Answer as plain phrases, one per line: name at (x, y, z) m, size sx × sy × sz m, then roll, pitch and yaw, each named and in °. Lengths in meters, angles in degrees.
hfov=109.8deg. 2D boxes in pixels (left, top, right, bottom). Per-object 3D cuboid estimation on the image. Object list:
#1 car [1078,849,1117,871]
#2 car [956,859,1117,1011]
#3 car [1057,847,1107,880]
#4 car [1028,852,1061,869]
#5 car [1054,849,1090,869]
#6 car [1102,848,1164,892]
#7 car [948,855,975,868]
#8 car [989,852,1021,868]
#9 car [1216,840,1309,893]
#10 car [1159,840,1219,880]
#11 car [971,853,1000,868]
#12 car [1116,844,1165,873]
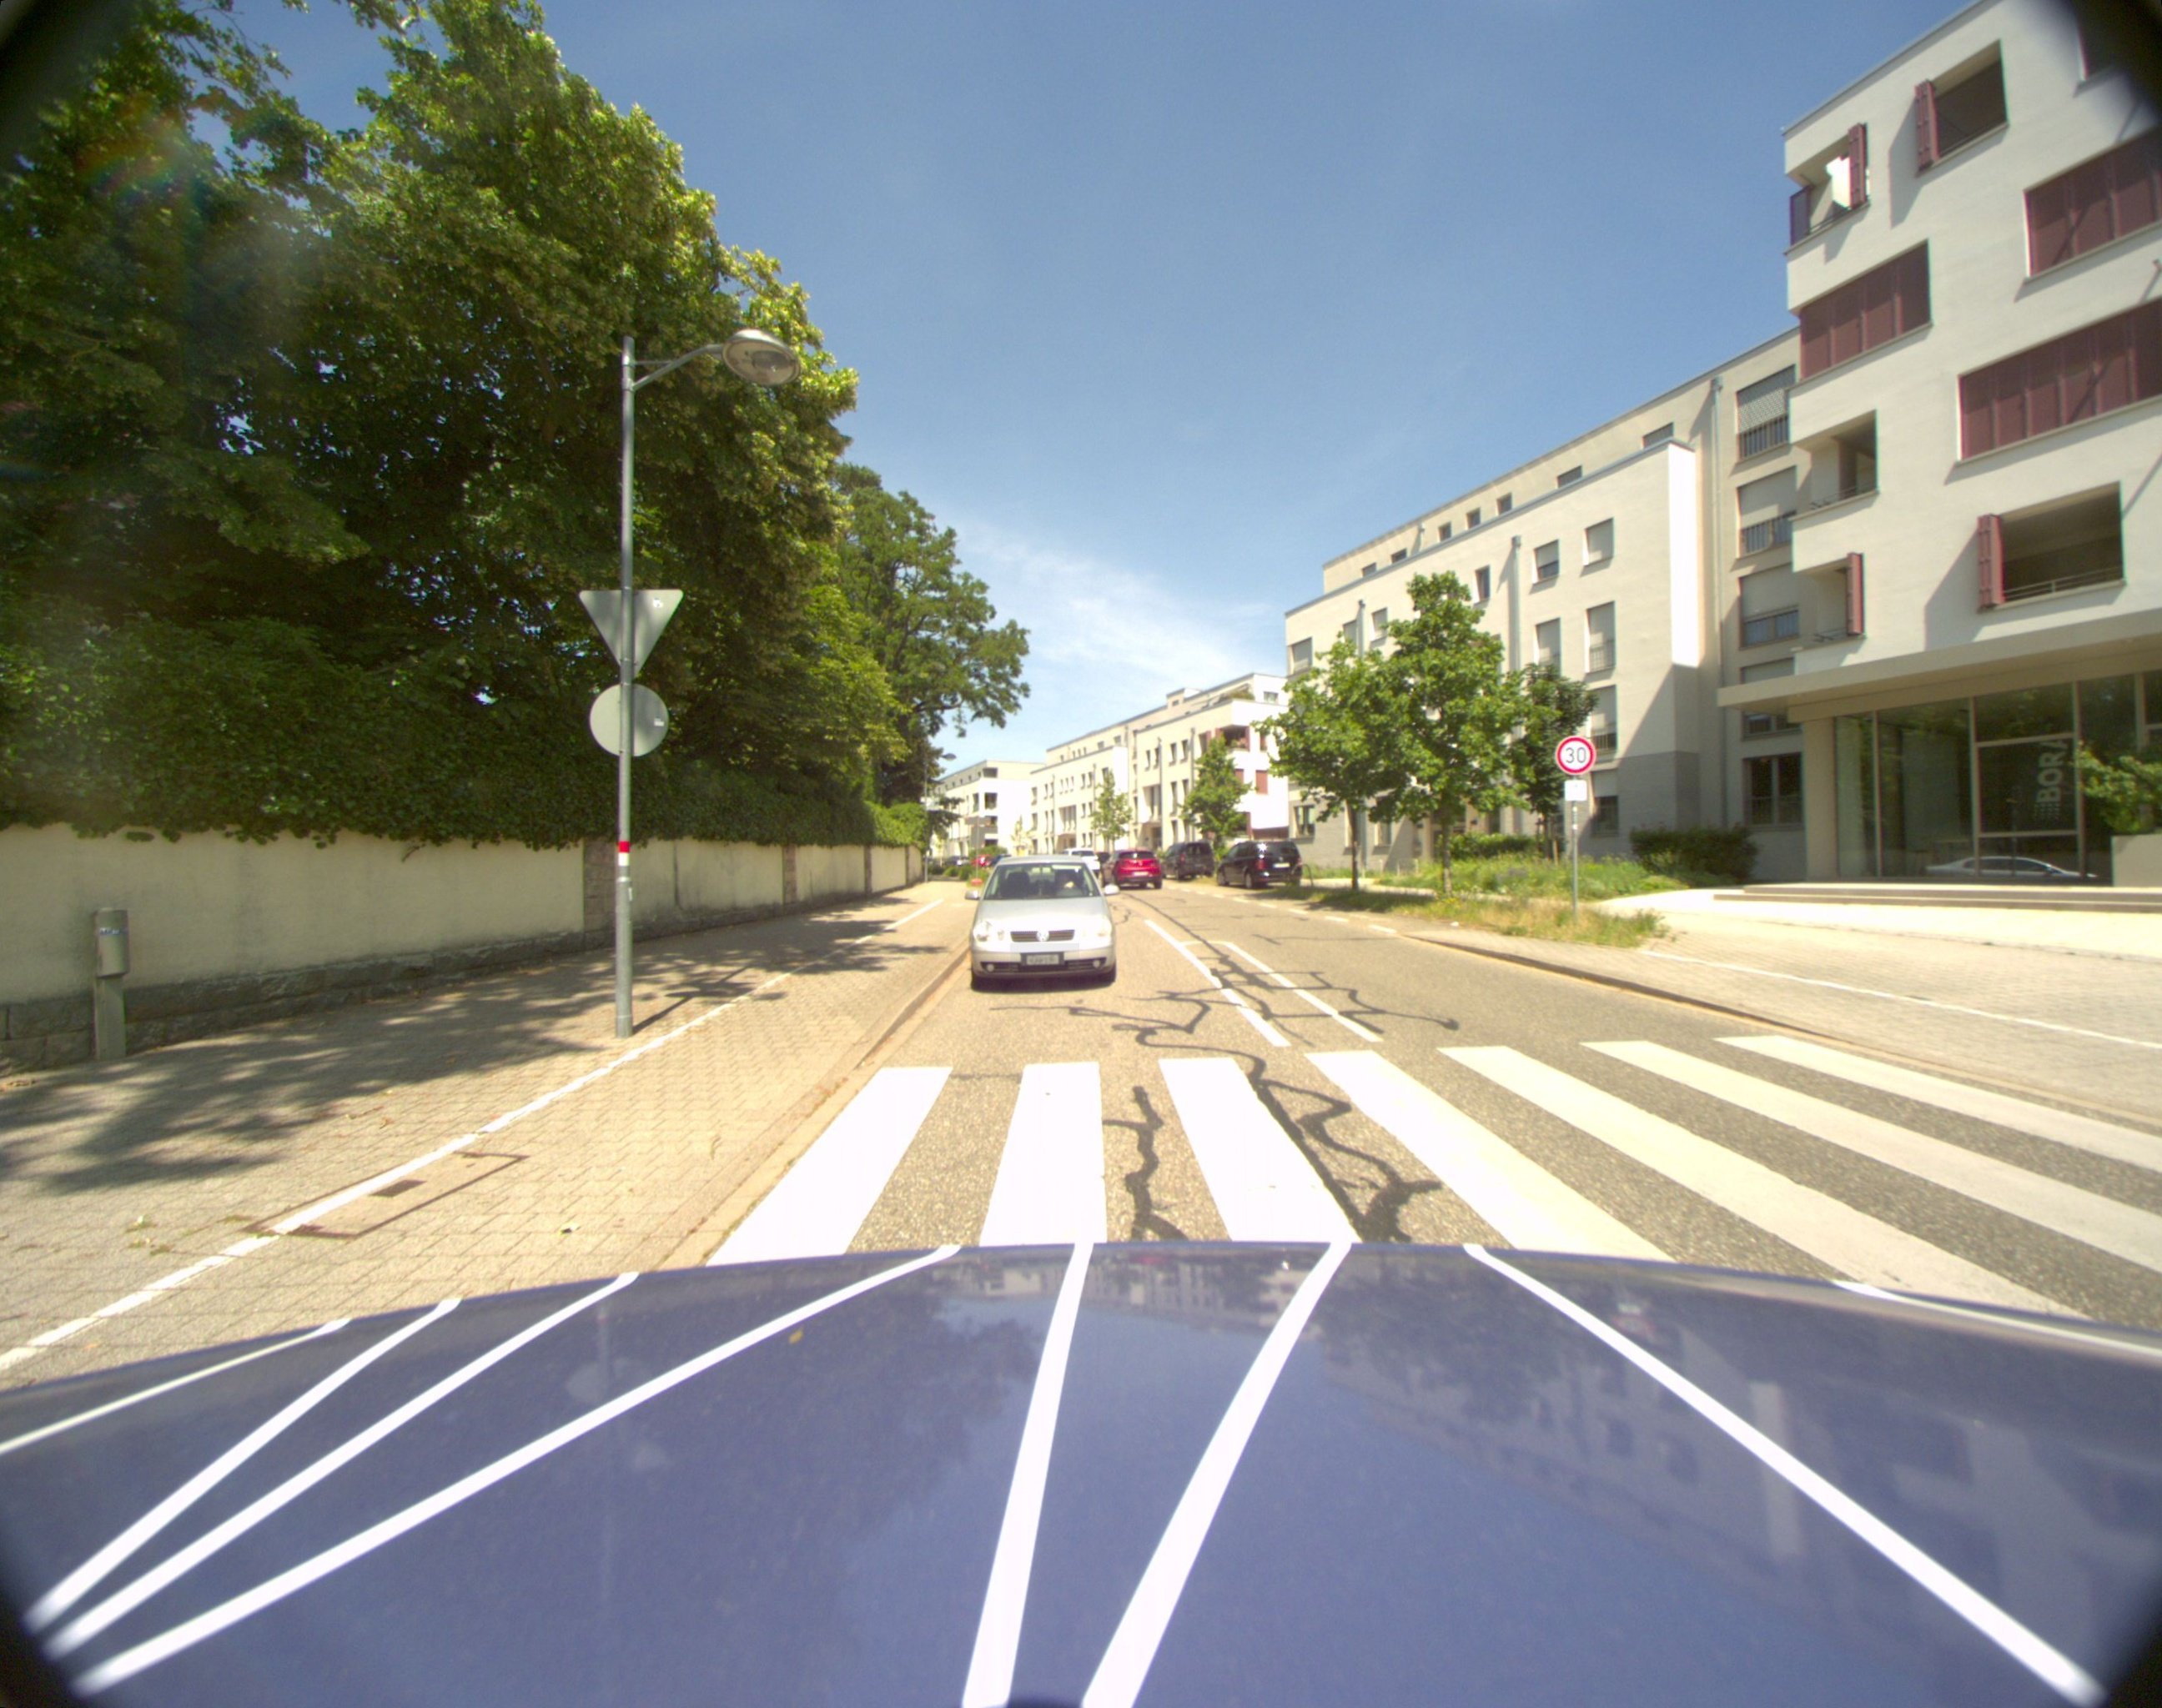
car at (1.086, 0.384, 52.115) m, size 1.708 × 1.405 × 3.622 m, roll -2°, pitch 1°, yaw -15°
car at (-0.455, 0.842, 9.763) m, size 1.607 × 1.443 × 3.999 m, roll -1°, pitch 1°, yaw 0°
car at (-0.014, 0.470, 40.434) m, size 1.817 × 1.599 × 4.115 m, roll -2°, pitch 1°, yaw -12°
car at (-3.095, 0.523, 64.417) m, size 1.709 × 1.405 × 3.714 m, roll -2°, pitch 1°, yaw -20°
car at (-0.728, 0.355, 57.470) m, size 1.708 × 1.405 × 3.715 m, roll -2°, pitch 1°, yaw -18°
car at (1.884, 0.543, 28.652) m, size 1.756 × 1.496 × 3.991 m, roll -2°, pitch 0°, yaw -4°
car at (-13.230, 0.831, 84.032) m, size 1.710 × 1.405 × 3.712 m, roll -2°, pitch 1°, yaw -30°
car at (-7.369, 0.571, 73.482) m, size 1.710 × 1.405 × 3.712 m, roll -2°, pitch 1°, yaw -30°
car at (6.125, 0.365, 26.122) m, size 1.700 × 1.628 × 4.017 m, roll -2°, pitch 1°, yaw -9°
car at (4.886, 0.249, 34.742) m, size 1.700 × 1.690 × 3.624 m, roll -2°, pitch 1°, yaw -9°
car at (-9.889, 0.649, 78.391) m, size 1.710 × 1.405 × 3.712 m, roll -2°, pitch 1°, yaw -30°
car at (3.423, 0.231, 44.102) m, size 1.792 × 1.580 × 3.623 m, roll -2°, pitch 1°, yaw -13°
